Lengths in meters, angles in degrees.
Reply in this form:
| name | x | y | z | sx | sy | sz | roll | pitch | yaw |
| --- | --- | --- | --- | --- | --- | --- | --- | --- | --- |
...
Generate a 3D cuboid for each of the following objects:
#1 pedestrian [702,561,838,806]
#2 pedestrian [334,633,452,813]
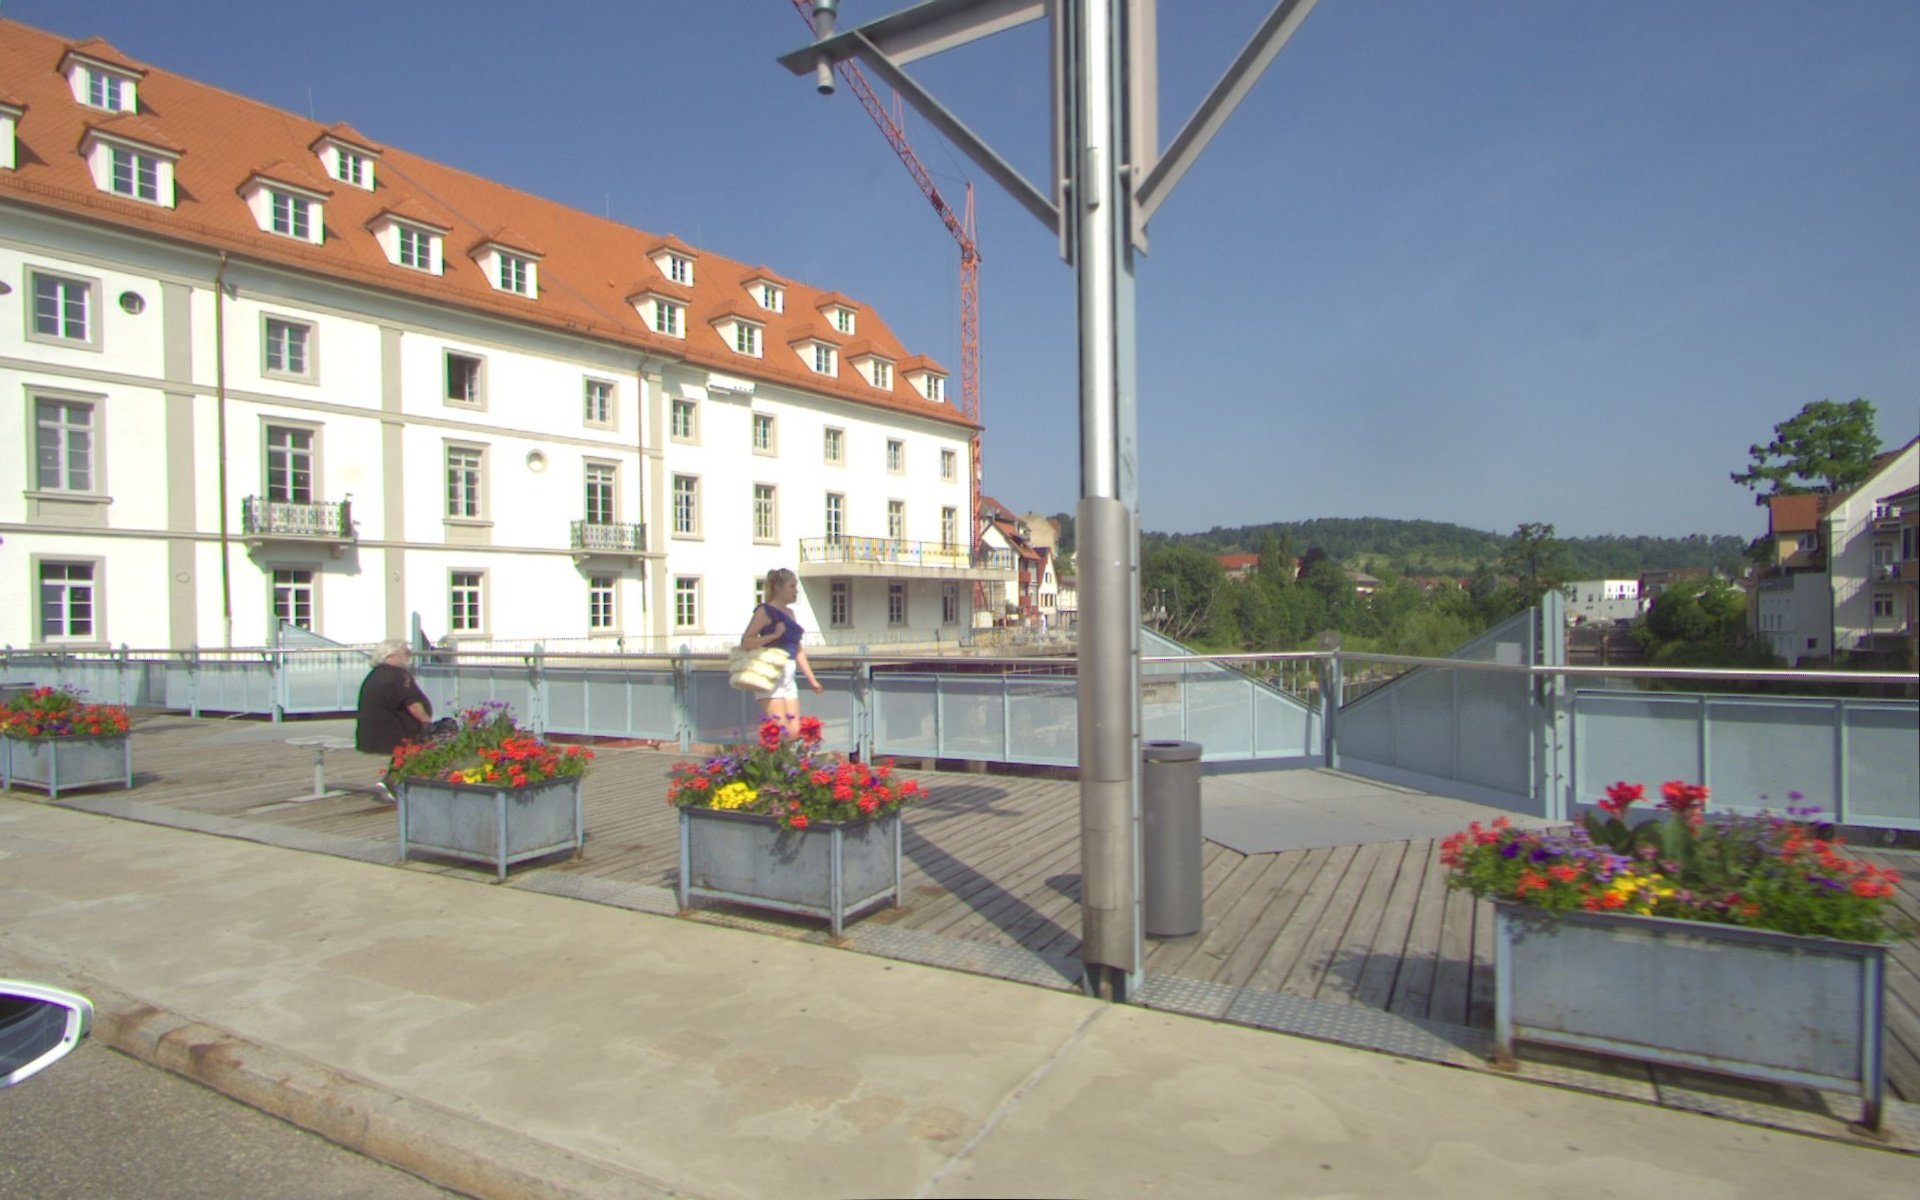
| name | x | y | z | sx | sy | sz | roll | pitch | yaw |
| --- | --- | --- | --- | --- | --- | --- | --- | --- | --- |
| pedestrian | -1.429 | 0.601 | 7.601 | 0.734 | 1.746 | 0.726 | 0 | 0 | 22 |
| pedestrian | -4.182 | 0.881 | 7.396 | 0.615 | 1.260 | 0.452 | -1 | 0 | 22 |
